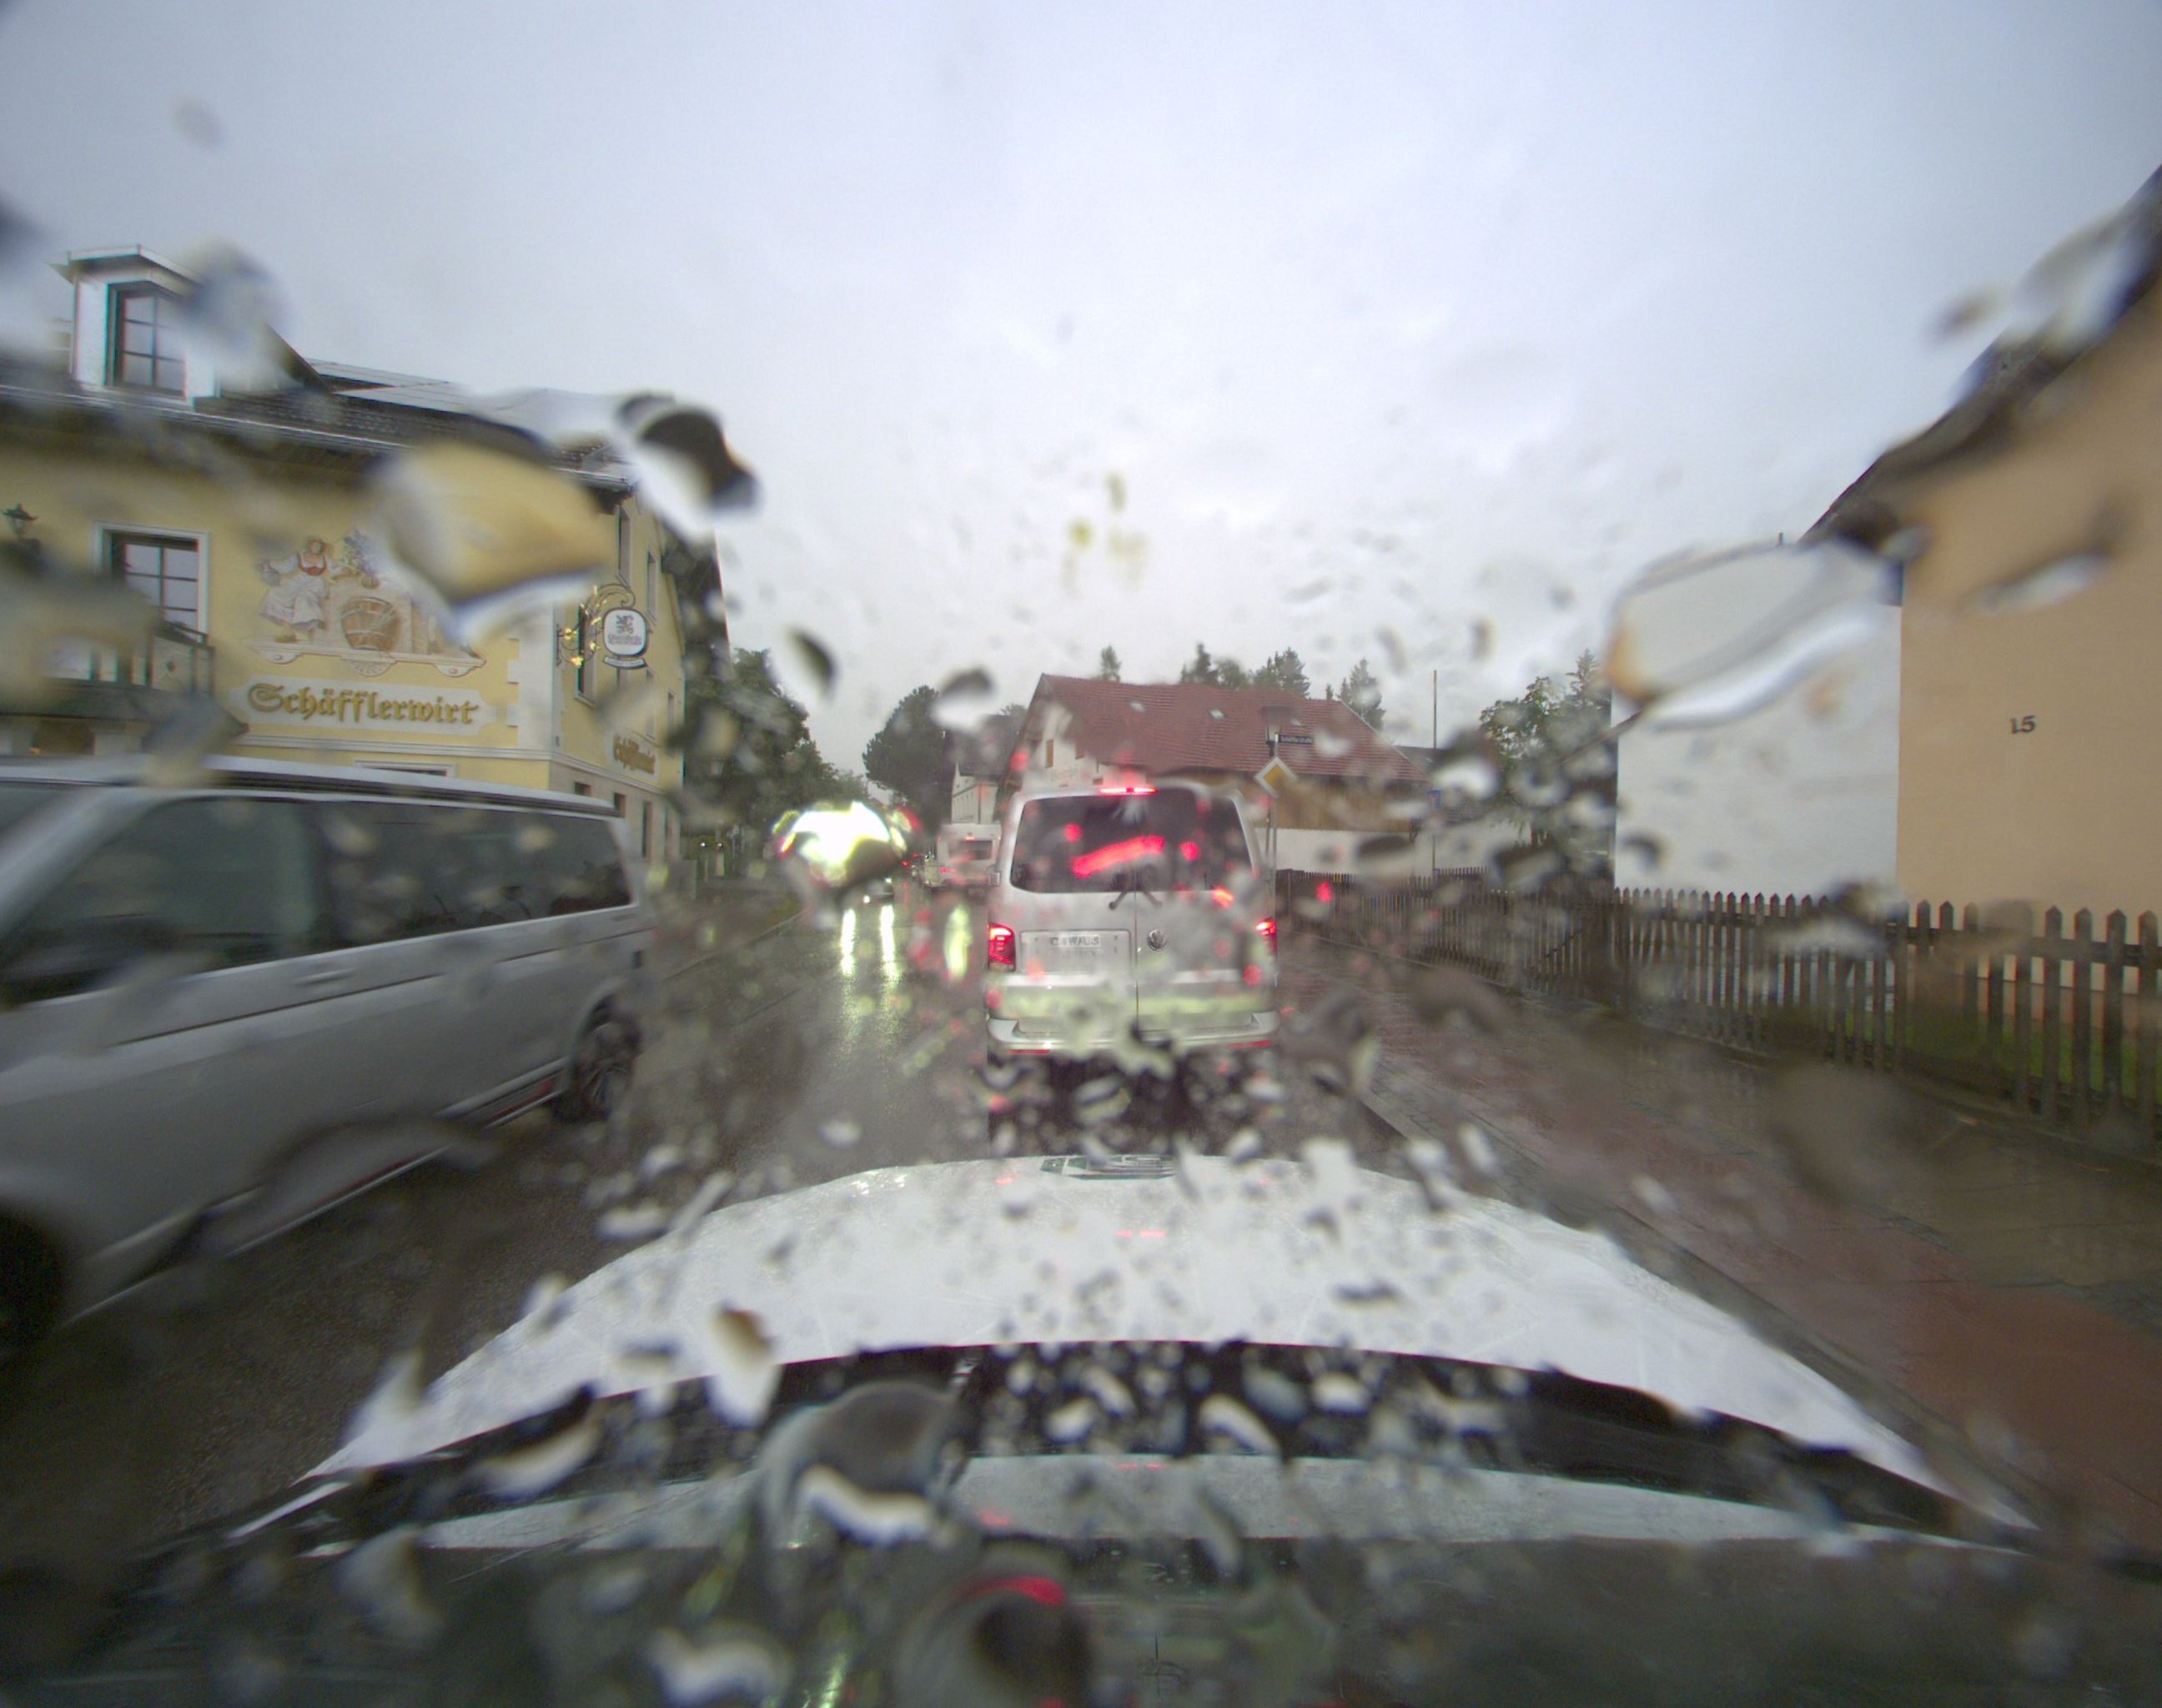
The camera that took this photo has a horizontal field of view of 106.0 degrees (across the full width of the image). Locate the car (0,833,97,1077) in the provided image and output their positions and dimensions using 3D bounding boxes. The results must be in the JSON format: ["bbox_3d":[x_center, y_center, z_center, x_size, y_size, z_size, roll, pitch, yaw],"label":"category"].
[{"bbox_3d":[-9.124,0.567,4.388,4.490,1.567,1.827,4,1,-20],"label":"car"}]

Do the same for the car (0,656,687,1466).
[{"bbox_3d":[-3.625,0.536,3.361,1.846,1.971,4.697,-1,-1,-3],"label":"car"}]

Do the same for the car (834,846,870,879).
[{"bbox_3d":[-13.456,0.481,47.874,1.866,1.758,4.458,-3,1,-16],"label":"car"}]

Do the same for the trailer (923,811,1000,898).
[{"bbox_3d":[-4.597,0.029,30.503,2.274,2.904,6.102,0,0,-14],"label":"trailer"}]

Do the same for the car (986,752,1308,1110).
[{"bbox_3d":[0.317,0.435,7.076,1.771,1.963,5.071,-1,0,-1],"label":"car"}]

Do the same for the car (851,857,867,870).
[{"bbox_3d":[-34.901,1.442,127.843,2.174,1.899,4.985,1,0,-18],"label":"car"}]

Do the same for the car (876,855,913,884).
[{"bbox_3d":[-13.535,1.111,58.950,2.174,1.899,4.985,1,0,-18],"label":"car"}]

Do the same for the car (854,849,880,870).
[{"bbox_3d":[-20.742,0.480,78.658,2.174,1.899,4.985,1,0,-18],"label":"car"}]

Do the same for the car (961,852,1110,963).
[{"bbox_3d":[-1.005,0.795,14.641,1.712,1.584,4.661,-2,1,-15],"label":"car"}]

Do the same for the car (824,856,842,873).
[{"bbox_3d":[-28.376,1.160,93.238,1.867,1.758,4.457,-3,1,-17],"label":"car"}]

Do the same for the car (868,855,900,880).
[{"bbox_3d":[-16.263,1.058,66.985,2.174,1.899,4.985,1,0,-18],"label":"car"}]

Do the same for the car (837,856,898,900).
[{"bbox_3d":[-7.770,0.798,29.349,1.867,1.359,4.456,-1,1,-18],"label":"car"}]

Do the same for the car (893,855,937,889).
[{"bbox_3d":[-10.430,1.086,50.815,2.174,1.899,4.985,1,0,-18],"label":"car"}]

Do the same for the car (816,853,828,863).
[{"bbox_3d":[-44.544,0.689,140.141,1.867,1.758,4.457,-3,1,-17],"label":"car"}]
